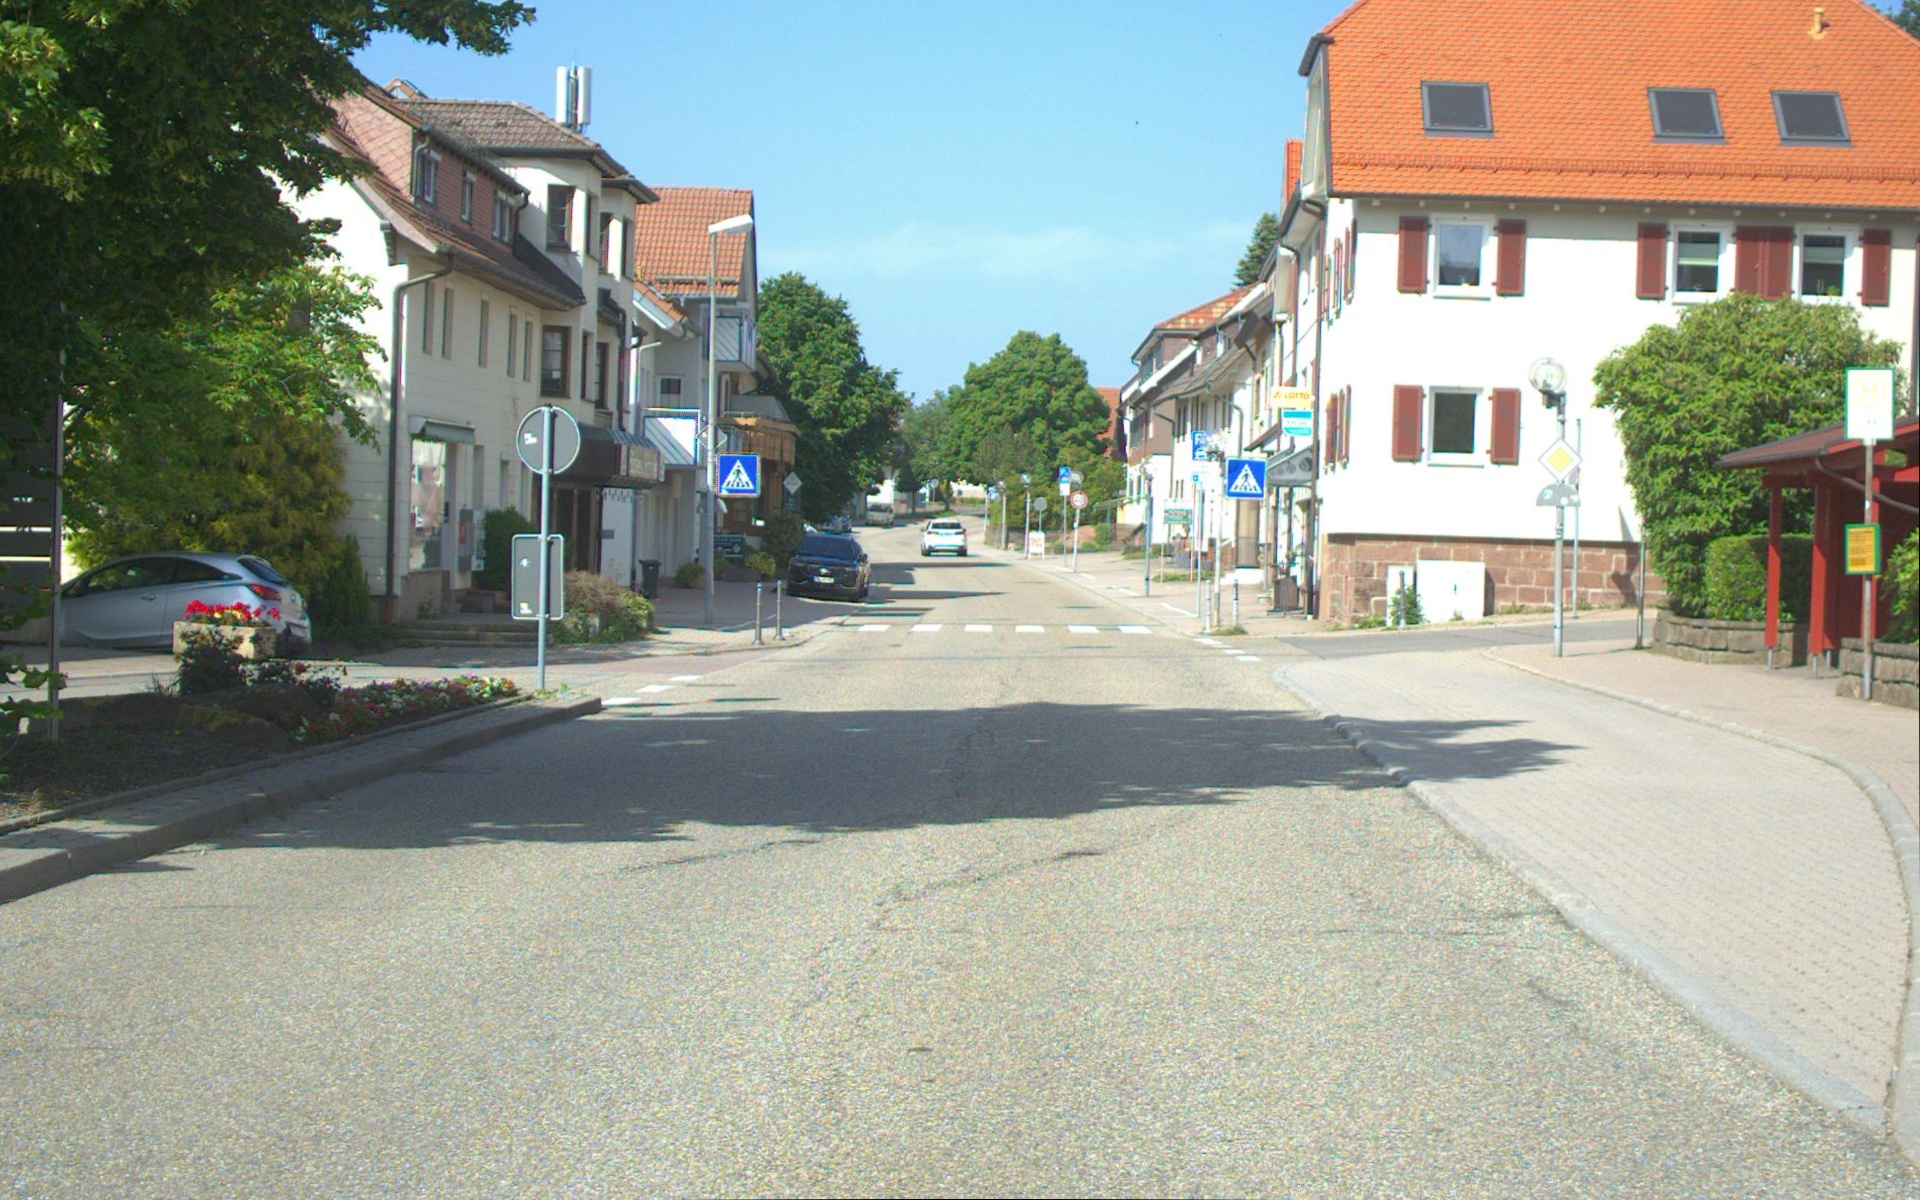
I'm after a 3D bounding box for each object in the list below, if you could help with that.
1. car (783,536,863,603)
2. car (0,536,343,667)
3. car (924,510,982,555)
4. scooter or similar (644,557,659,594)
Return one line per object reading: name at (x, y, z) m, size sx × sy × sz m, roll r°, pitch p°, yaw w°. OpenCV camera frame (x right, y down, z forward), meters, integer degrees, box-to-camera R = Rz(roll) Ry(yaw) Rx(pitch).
car at (-3.493, -0.791, 88.258) m, size 1.672 × 1.528 × 3.535 m, roll 5°, pitch 1°, yaw 2°
car at (-9.819, 0.038, 42.867) m, size 3.761 × 1.449 × 1.816 m, roll -1°, pitch -4°, yaw 14°
car at (-0.341, -3.145, 161.154) m, size 2.495 × 2.007 × 4.305 m, roll -1°, pitch 1°, yaw -3°
scooter or similar at (-7.442, -0.596, 82.882) m, size 0.351 × 0.887 × 0.395 m, roll -1°, pitch 1°, yaw -4°
